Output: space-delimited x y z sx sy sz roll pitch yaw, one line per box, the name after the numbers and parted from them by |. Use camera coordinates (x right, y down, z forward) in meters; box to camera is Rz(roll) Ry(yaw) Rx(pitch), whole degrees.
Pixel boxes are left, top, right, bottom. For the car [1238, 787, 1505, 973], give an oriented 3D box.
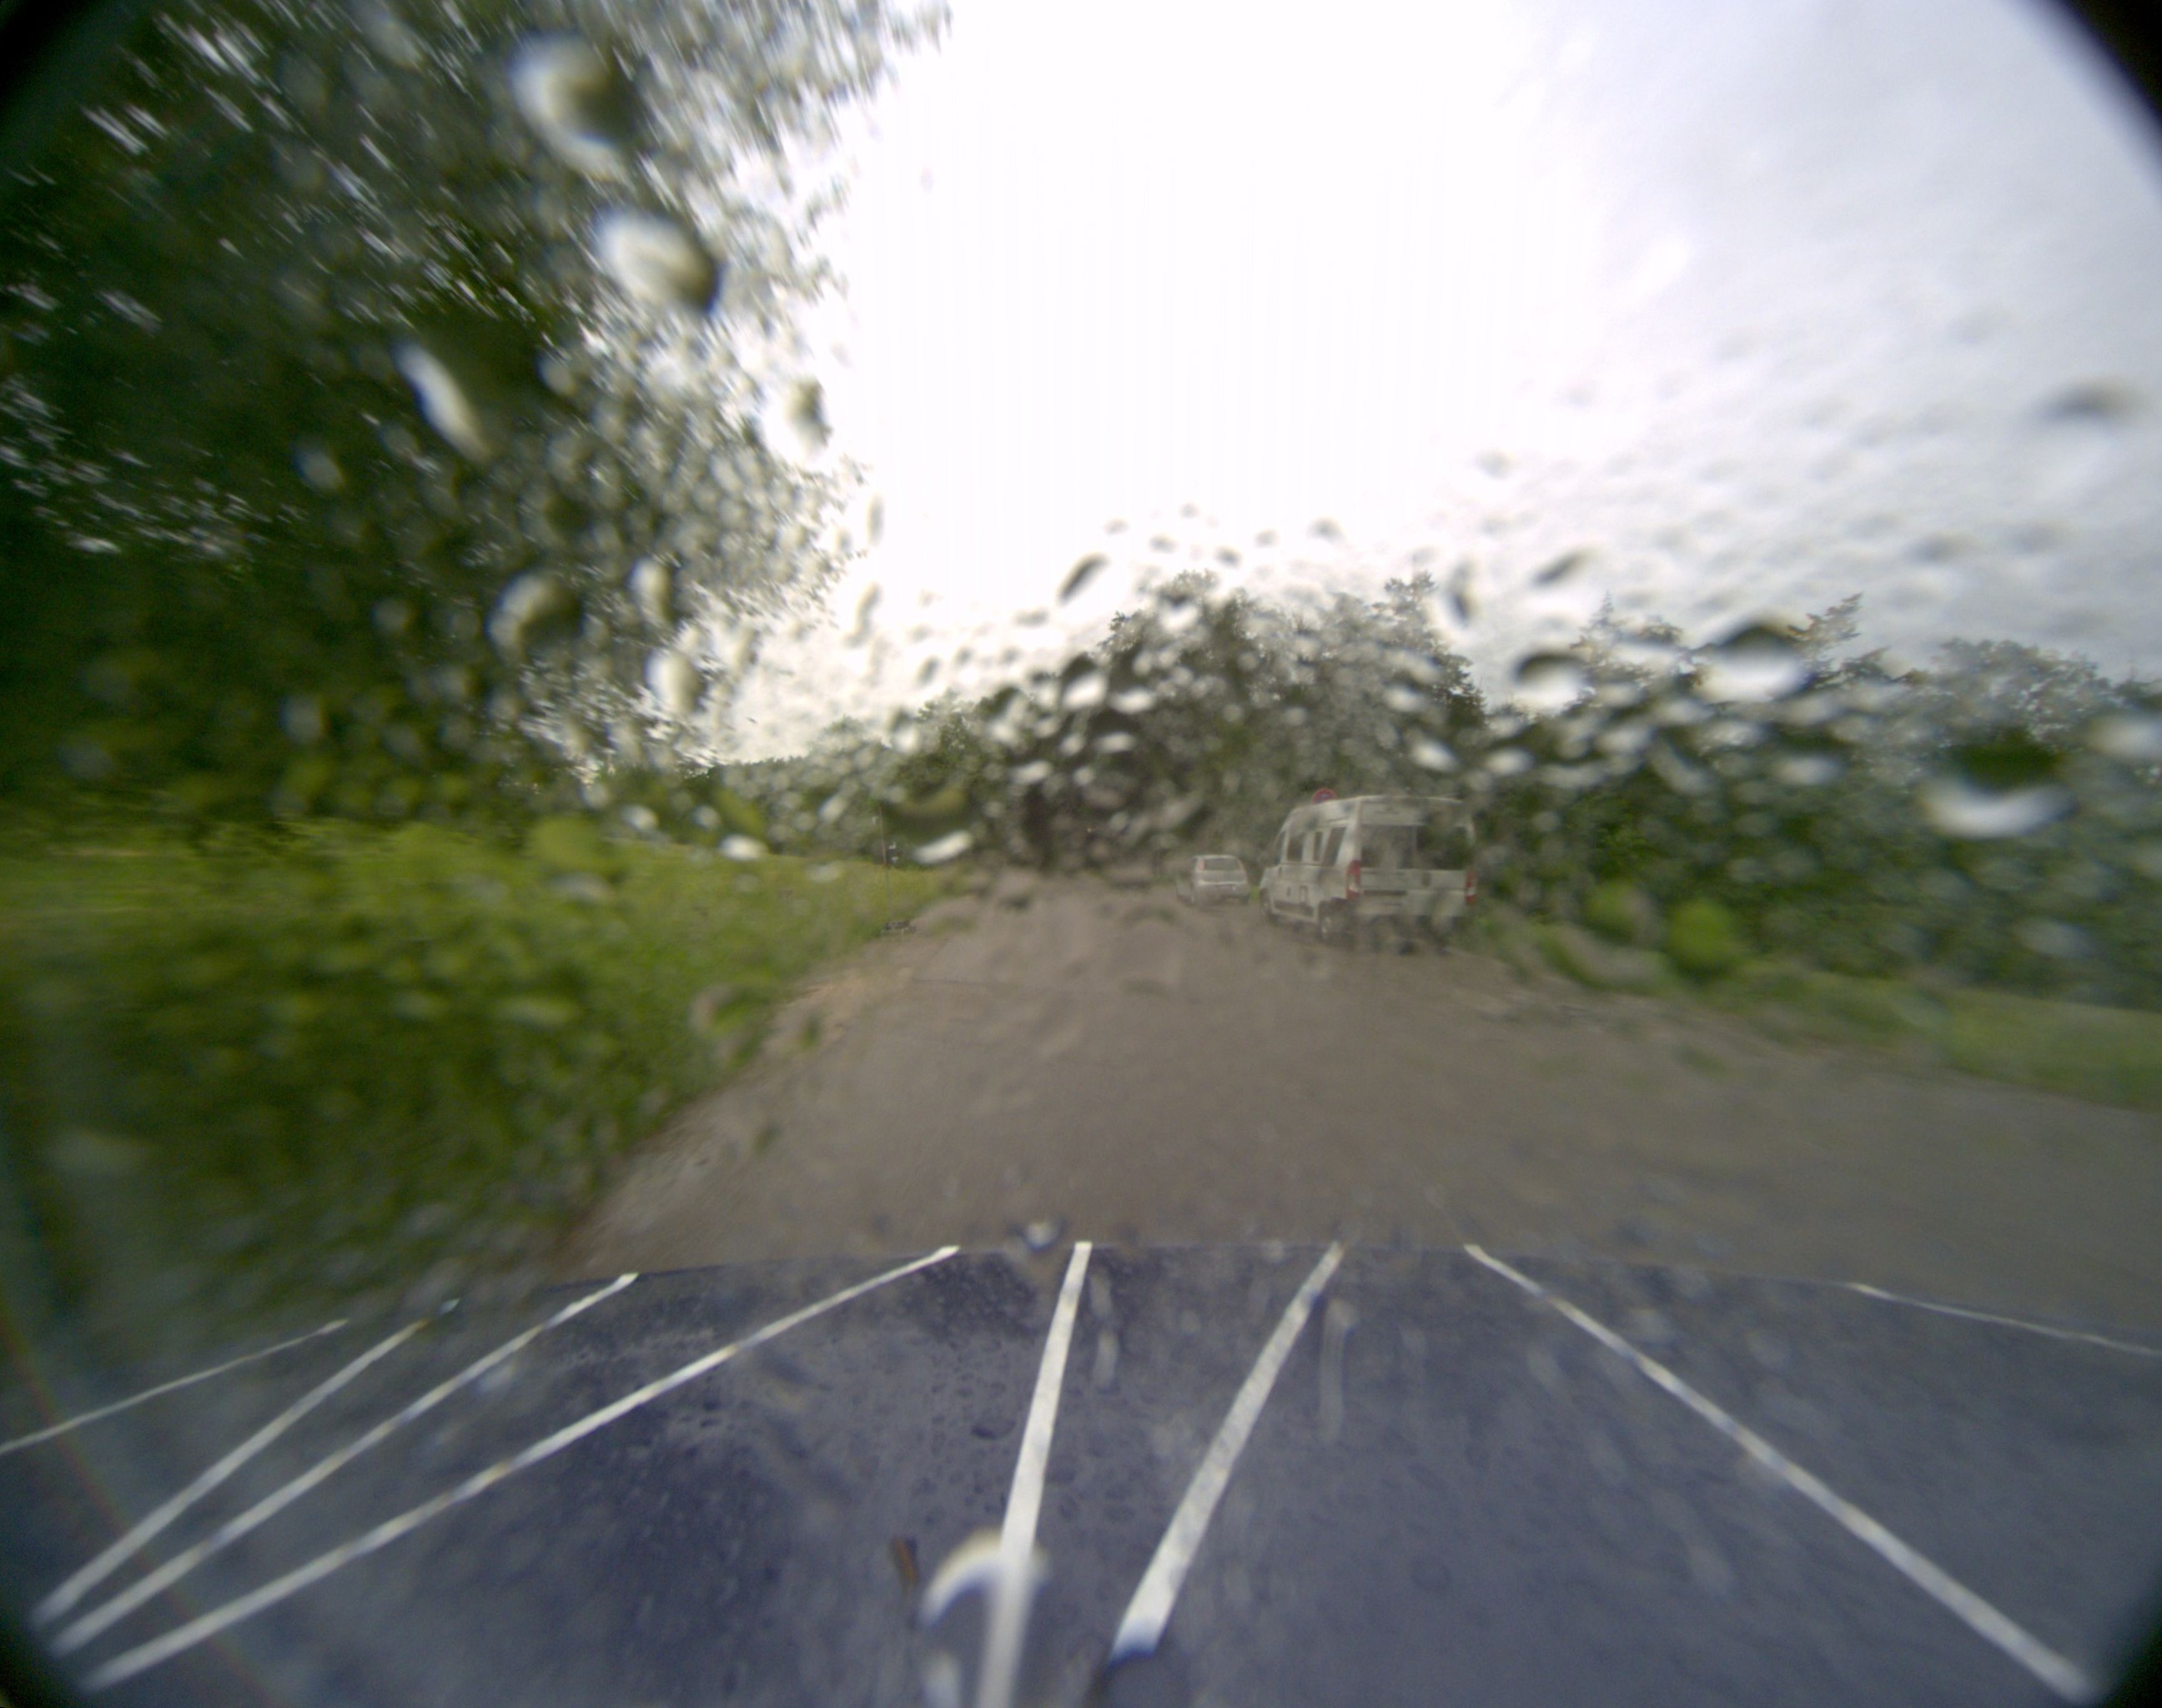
4.909 0.458 14.181 2.279 2.680 6.047 2 -1 -4 | car

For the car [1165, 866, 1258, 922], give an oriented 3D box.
4.002 1.209 24.065 1.866 1.586 4.494 1 -1 -4 | car
